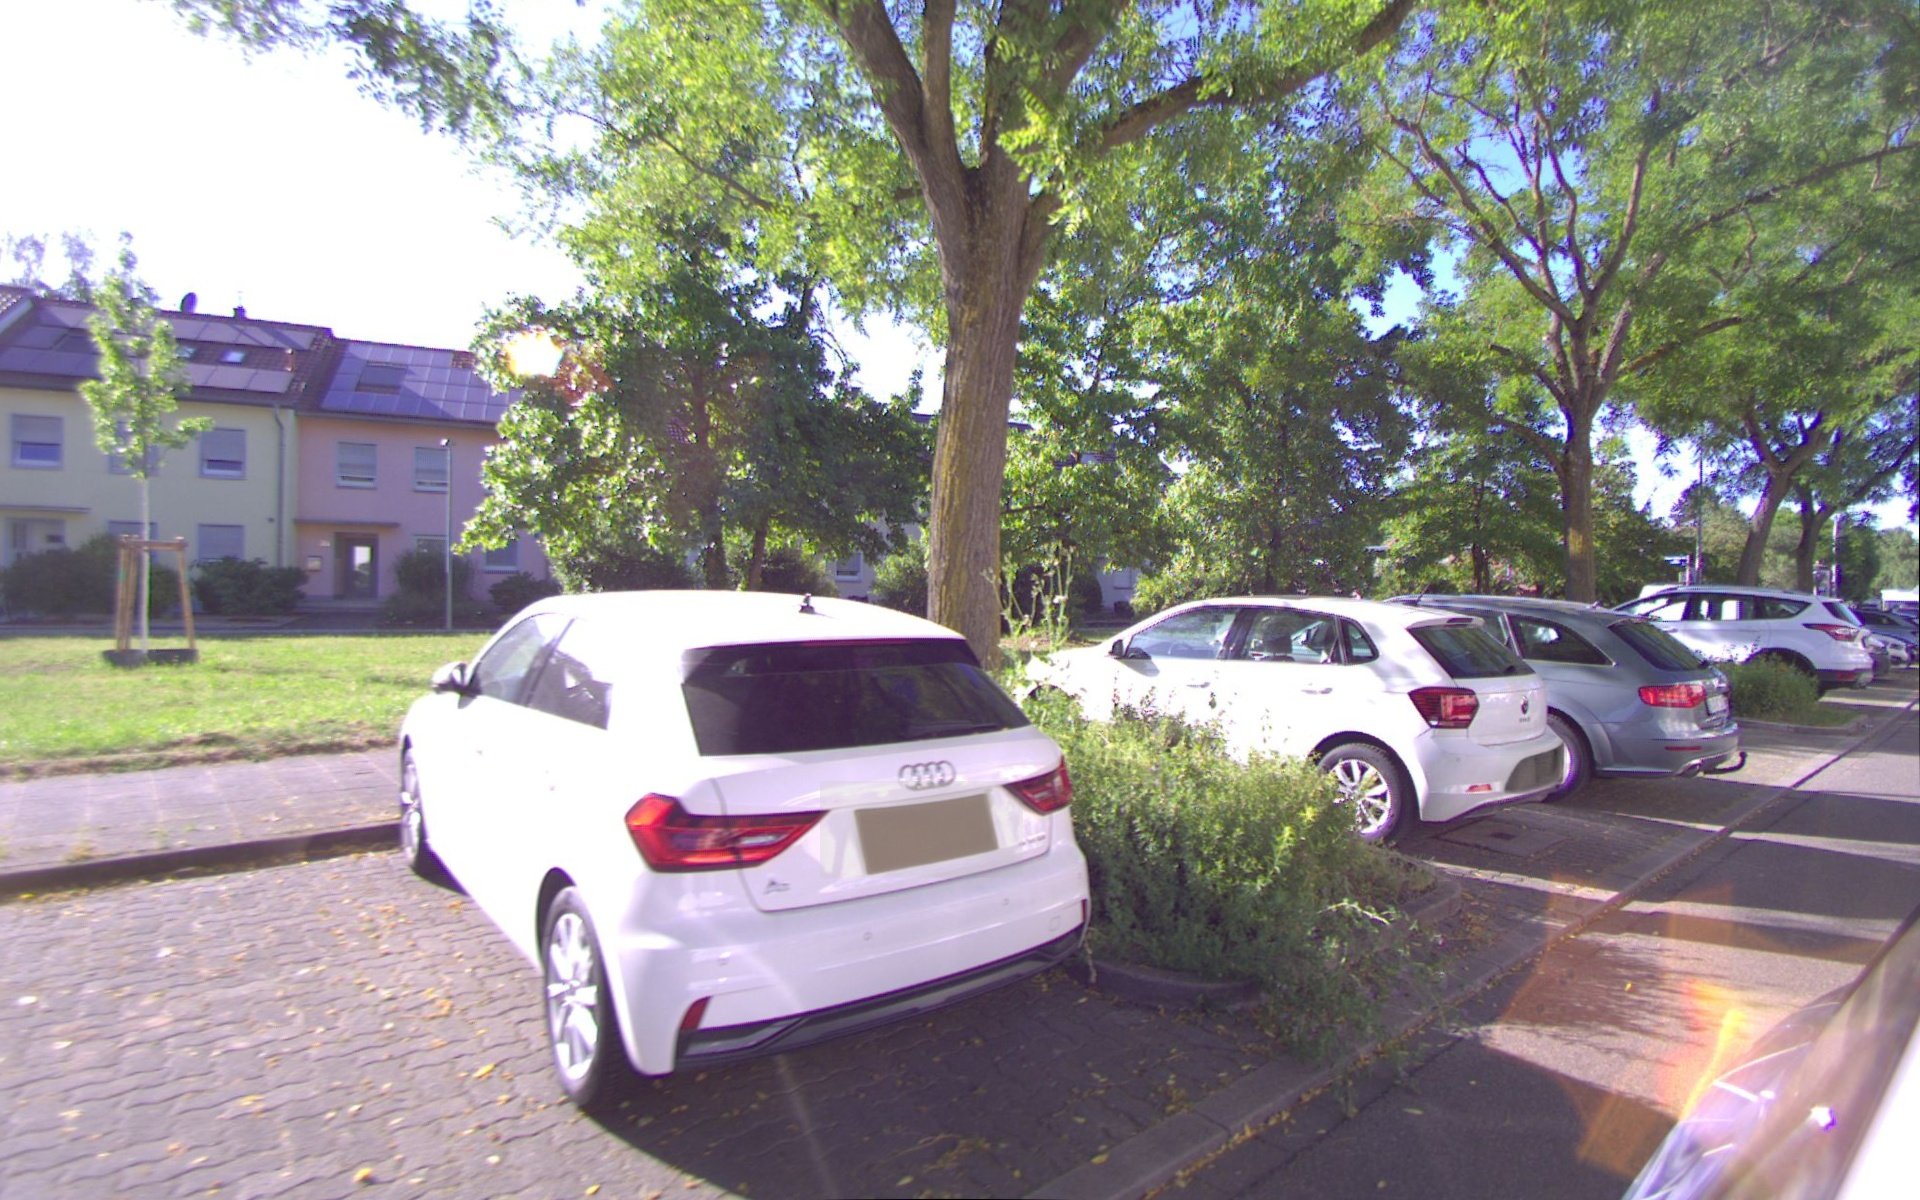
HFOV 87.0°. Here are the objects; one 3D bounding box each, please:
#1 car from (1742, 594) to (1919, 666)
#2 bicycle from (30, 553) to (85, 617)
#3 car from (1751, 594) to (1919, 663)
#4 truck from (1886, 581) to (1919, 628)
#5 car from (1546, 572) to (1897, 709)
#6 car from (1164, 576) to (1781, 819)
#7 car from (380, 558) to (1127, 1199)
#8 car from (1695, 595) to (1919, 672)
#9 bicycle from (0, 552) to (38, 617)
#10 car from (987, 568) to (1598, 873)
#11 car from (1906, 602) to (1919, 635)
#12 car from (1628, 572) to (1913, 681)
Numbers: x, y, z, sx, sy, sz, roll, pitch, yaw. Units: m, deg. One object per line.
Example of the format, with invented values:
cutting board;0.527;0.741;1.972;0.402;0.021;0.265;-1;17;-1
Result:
car;22.438;0.707;25.599;1.717;1.680;4.044;1;0;-44
bicycle;-21.878;-0.350;24.581;0.810;1.461;2.917;1;0;-38
car;24.178;0.742;27.437;1.716;1.572;4.047;1;3;-44
truck;63.334;0.317;66.923;2.757;2.836;8.135;5;3;44
car;11.560;0.505;15.583;1.715;1.786;4.048;1;1;-42
car;4.154;0.602;8.860;1.715;1.489;4.487;1;2;-42
car;-1.292;0.596;4.336;1.605;1.453;3.920;1;2;-36
car;20.234;0.727;24.111;1.717;1.425;4.143;1;3;-44
bicycle;-22.919;-0.373;24.405;0.810;1.492;2.917;1;0;-38
car;2.096;0.593;7.329;1.607;1.453;3.918;1;3;-39
car;50.168;0.967;52.281;1.770;1.635;3.988;5;3;44
car;16.686;0.452;21.020;4.433;1.945;1.718;3;2;43
